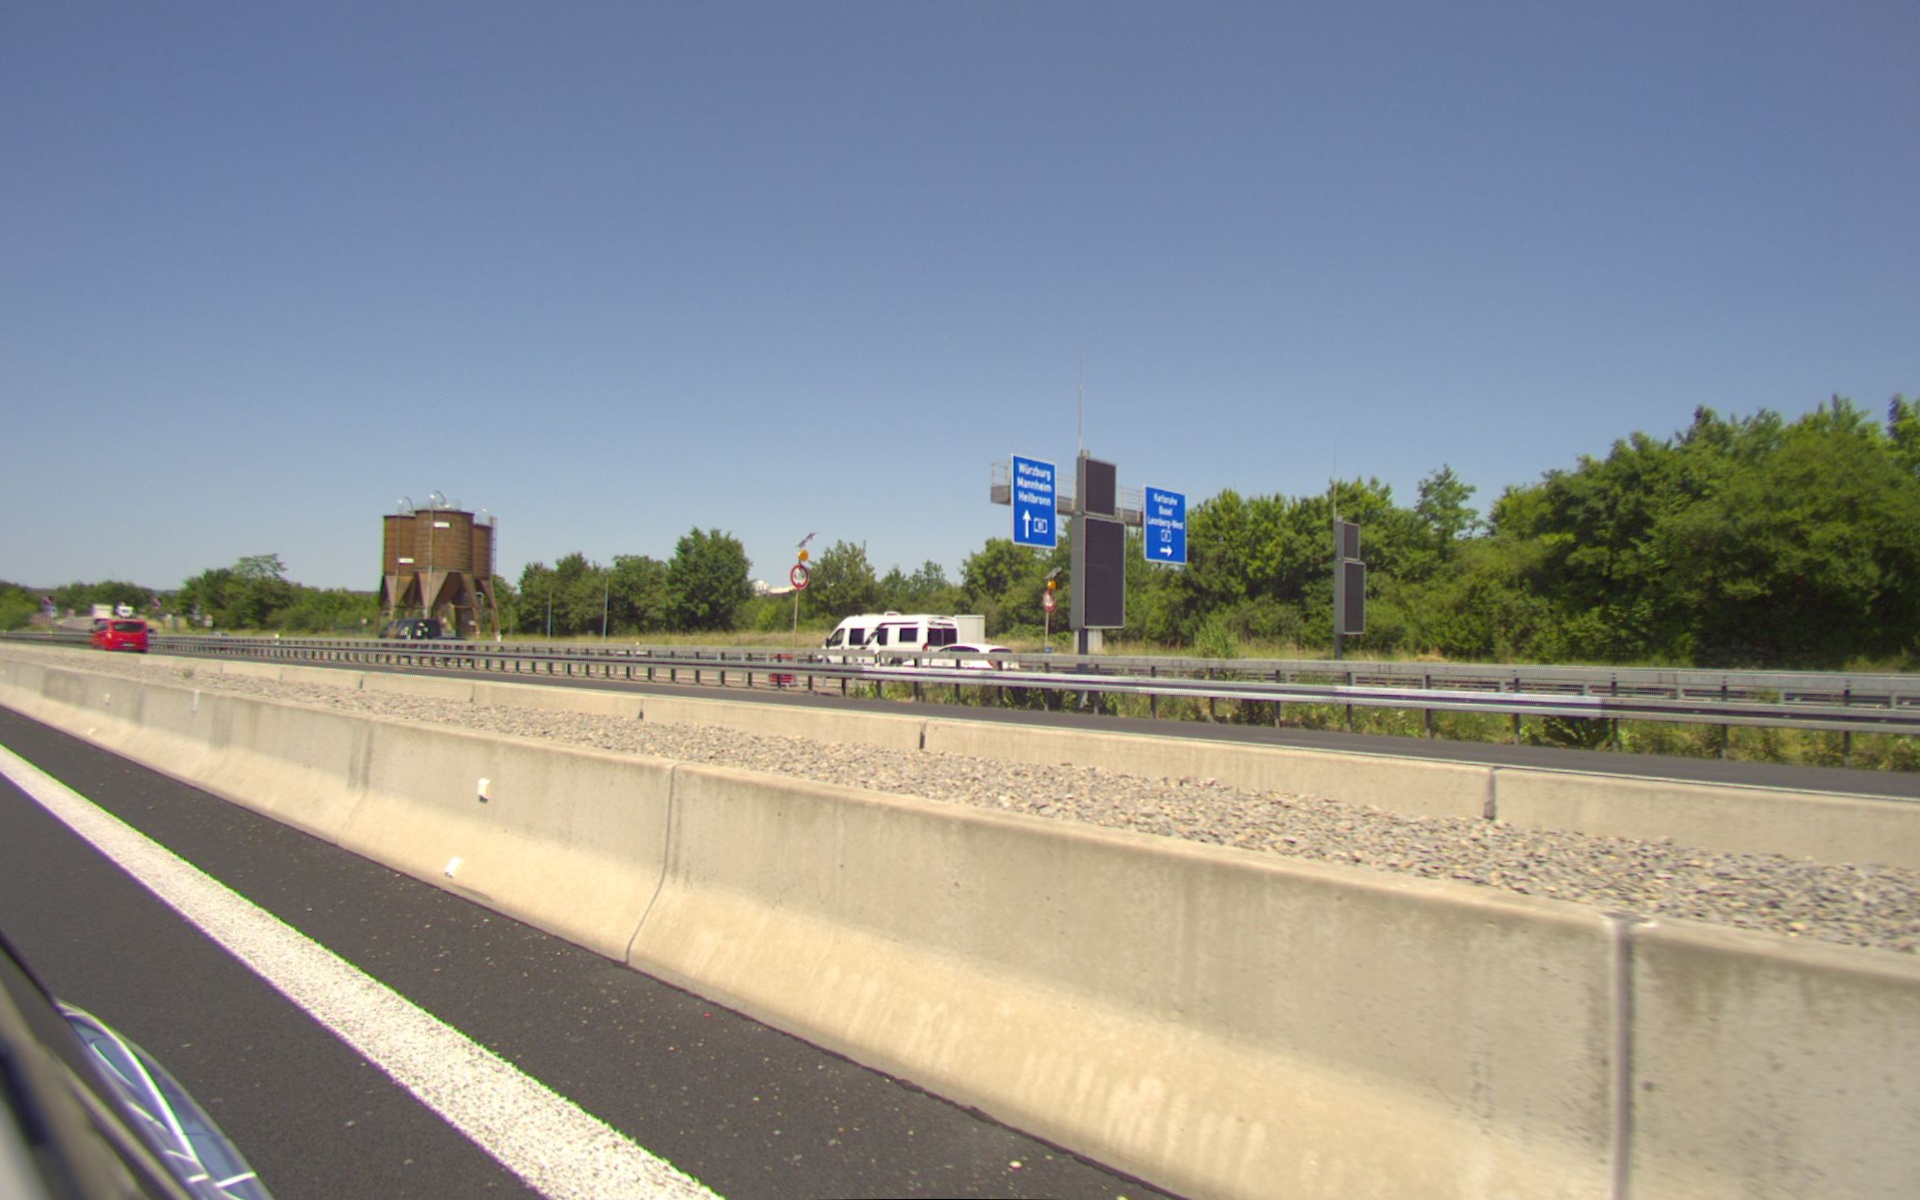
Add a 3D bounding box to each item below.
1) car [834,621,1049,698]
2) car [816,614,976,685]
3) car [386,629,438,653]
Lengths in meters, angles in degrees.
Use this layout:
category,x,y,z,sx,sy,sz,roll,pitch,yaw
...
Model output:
category,x,y,z,sx,sy,sz,roll,pitch,yaw
car,-0.725,1.804,32.030,6.932,2.182,2.469,-1,-4,41
car,-2.527,1.882,38.946,5.960,2.521,2.767,-2,-4,41
car,-37.243,2.752,68.758,3.998,1.522,1.776,-1,0,41
